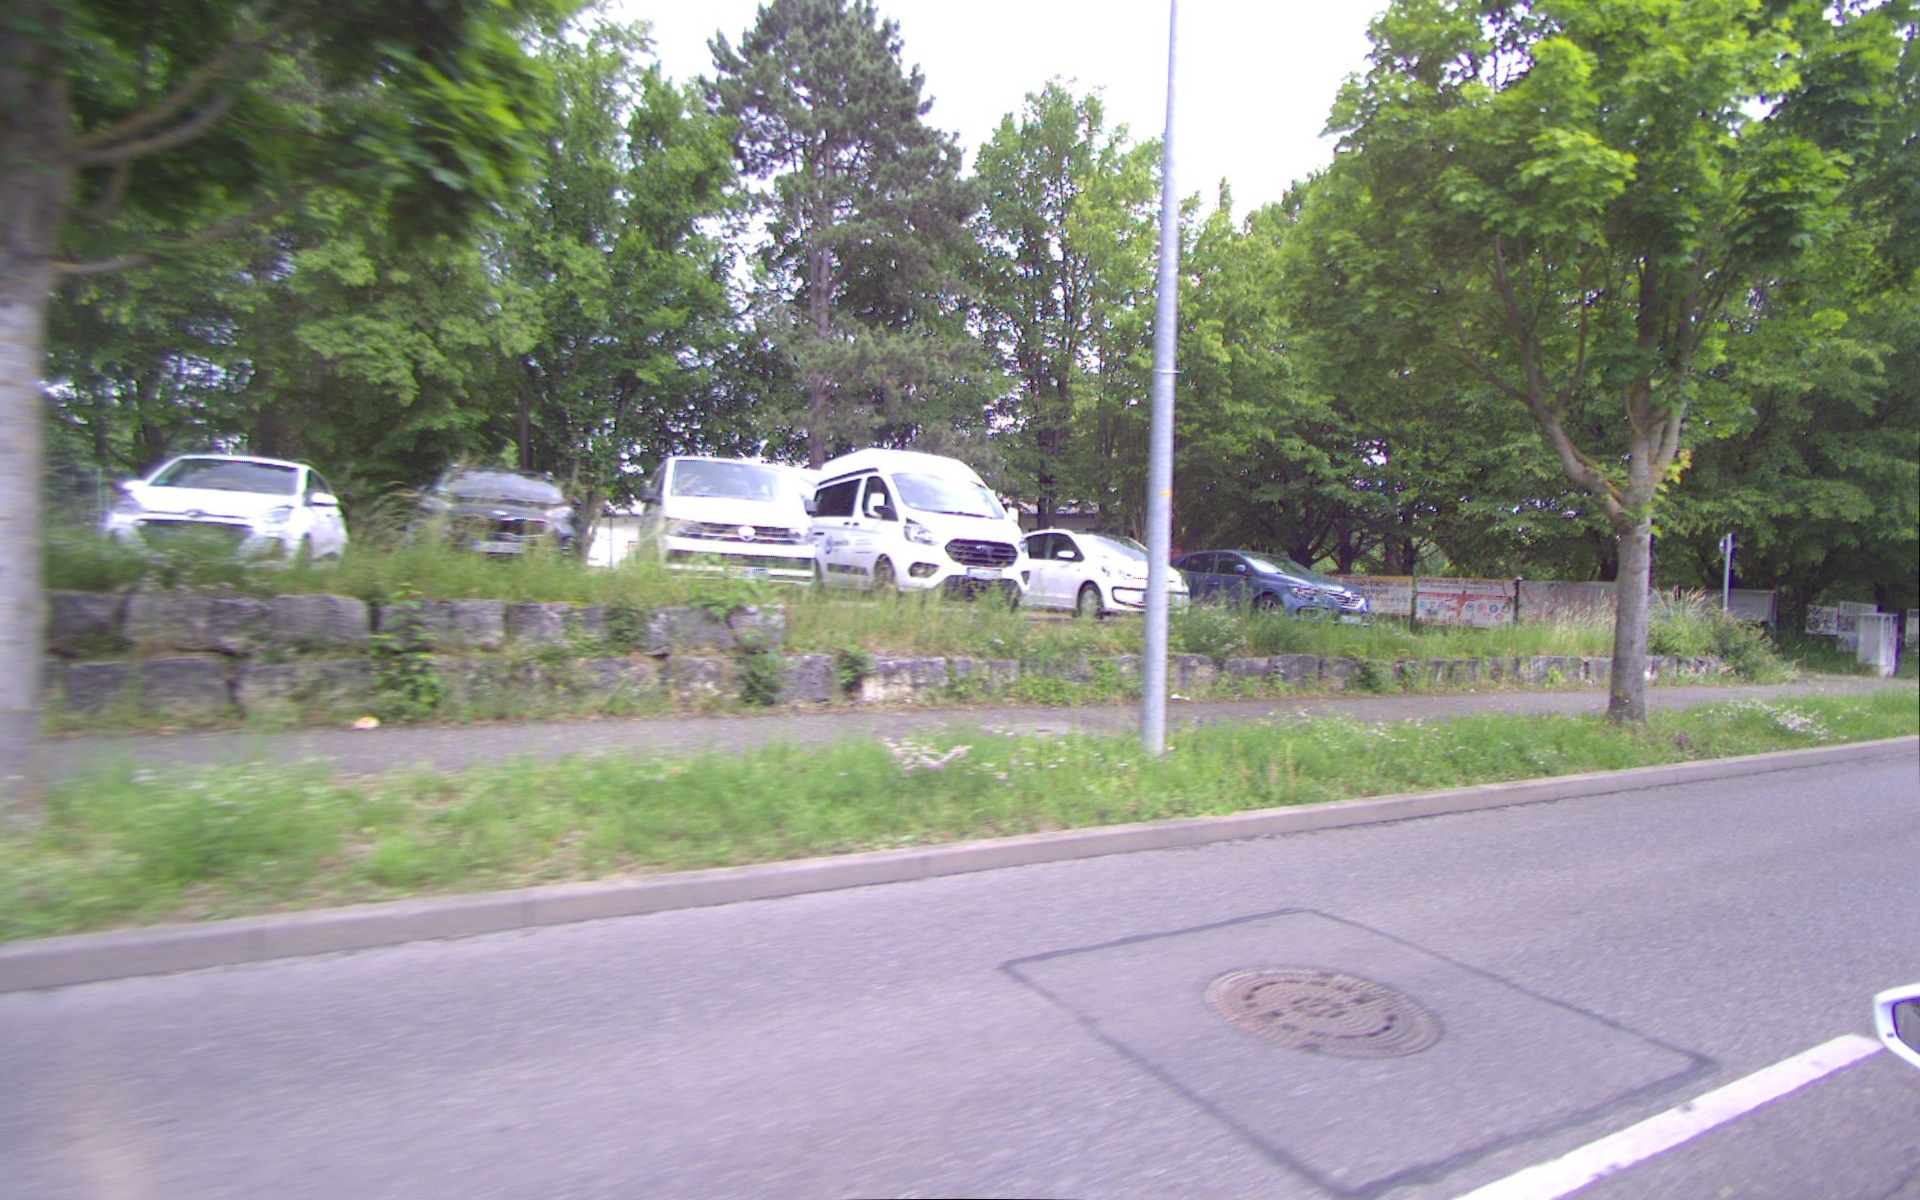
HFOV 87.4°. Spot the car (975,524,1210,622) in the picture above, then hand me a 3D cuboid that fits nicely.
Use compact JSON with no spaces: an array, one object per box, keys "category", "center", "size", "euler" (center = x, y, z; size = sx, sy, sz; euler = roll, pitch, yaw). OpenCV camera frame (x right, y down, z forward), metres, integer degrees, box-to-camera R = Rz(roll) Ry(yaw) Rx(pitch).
[{"category":"car","center":[1.953,-0.459,16.200],"size":[1.543,1.334,4.360],"euler":[1,2,-27]}]

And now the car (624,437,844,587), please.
[{"category":"car","center":[-3.284,-1.059,13.654],"size":[2.067,1.569,4.982],"euler":[2,2,-23]}]

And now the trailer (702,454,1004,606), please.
[{"category":"trailer","center":[-2.687,-1.636,25.731],"size":[7.104,3.115,2.638],"euler":[3,1,-27]}]

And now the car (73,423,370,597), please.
[{"category":"car","center":[-7.994,-0.893,11.309],"size":[1.755,1.532,4.024],"euler":[2,2,-23]}]

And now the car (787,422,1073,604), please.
[{"category":"car","center":[-0.703,-1.140,14.808],"size":[2.186,2.135,5.136],"euler":[1,2,-27]}]

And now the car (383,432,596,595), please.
[{"category":"car","center":[-5.619,-0.947,12.295],"size":[1.971,1.569,4.024],"euler":[2,2,-23]}]

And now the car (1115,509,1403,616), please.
[{"category":"car","center":[5.069,-0.667,17.918],"size":[1.861,1.582,5.136],"euler":[1,2,-27]}]
